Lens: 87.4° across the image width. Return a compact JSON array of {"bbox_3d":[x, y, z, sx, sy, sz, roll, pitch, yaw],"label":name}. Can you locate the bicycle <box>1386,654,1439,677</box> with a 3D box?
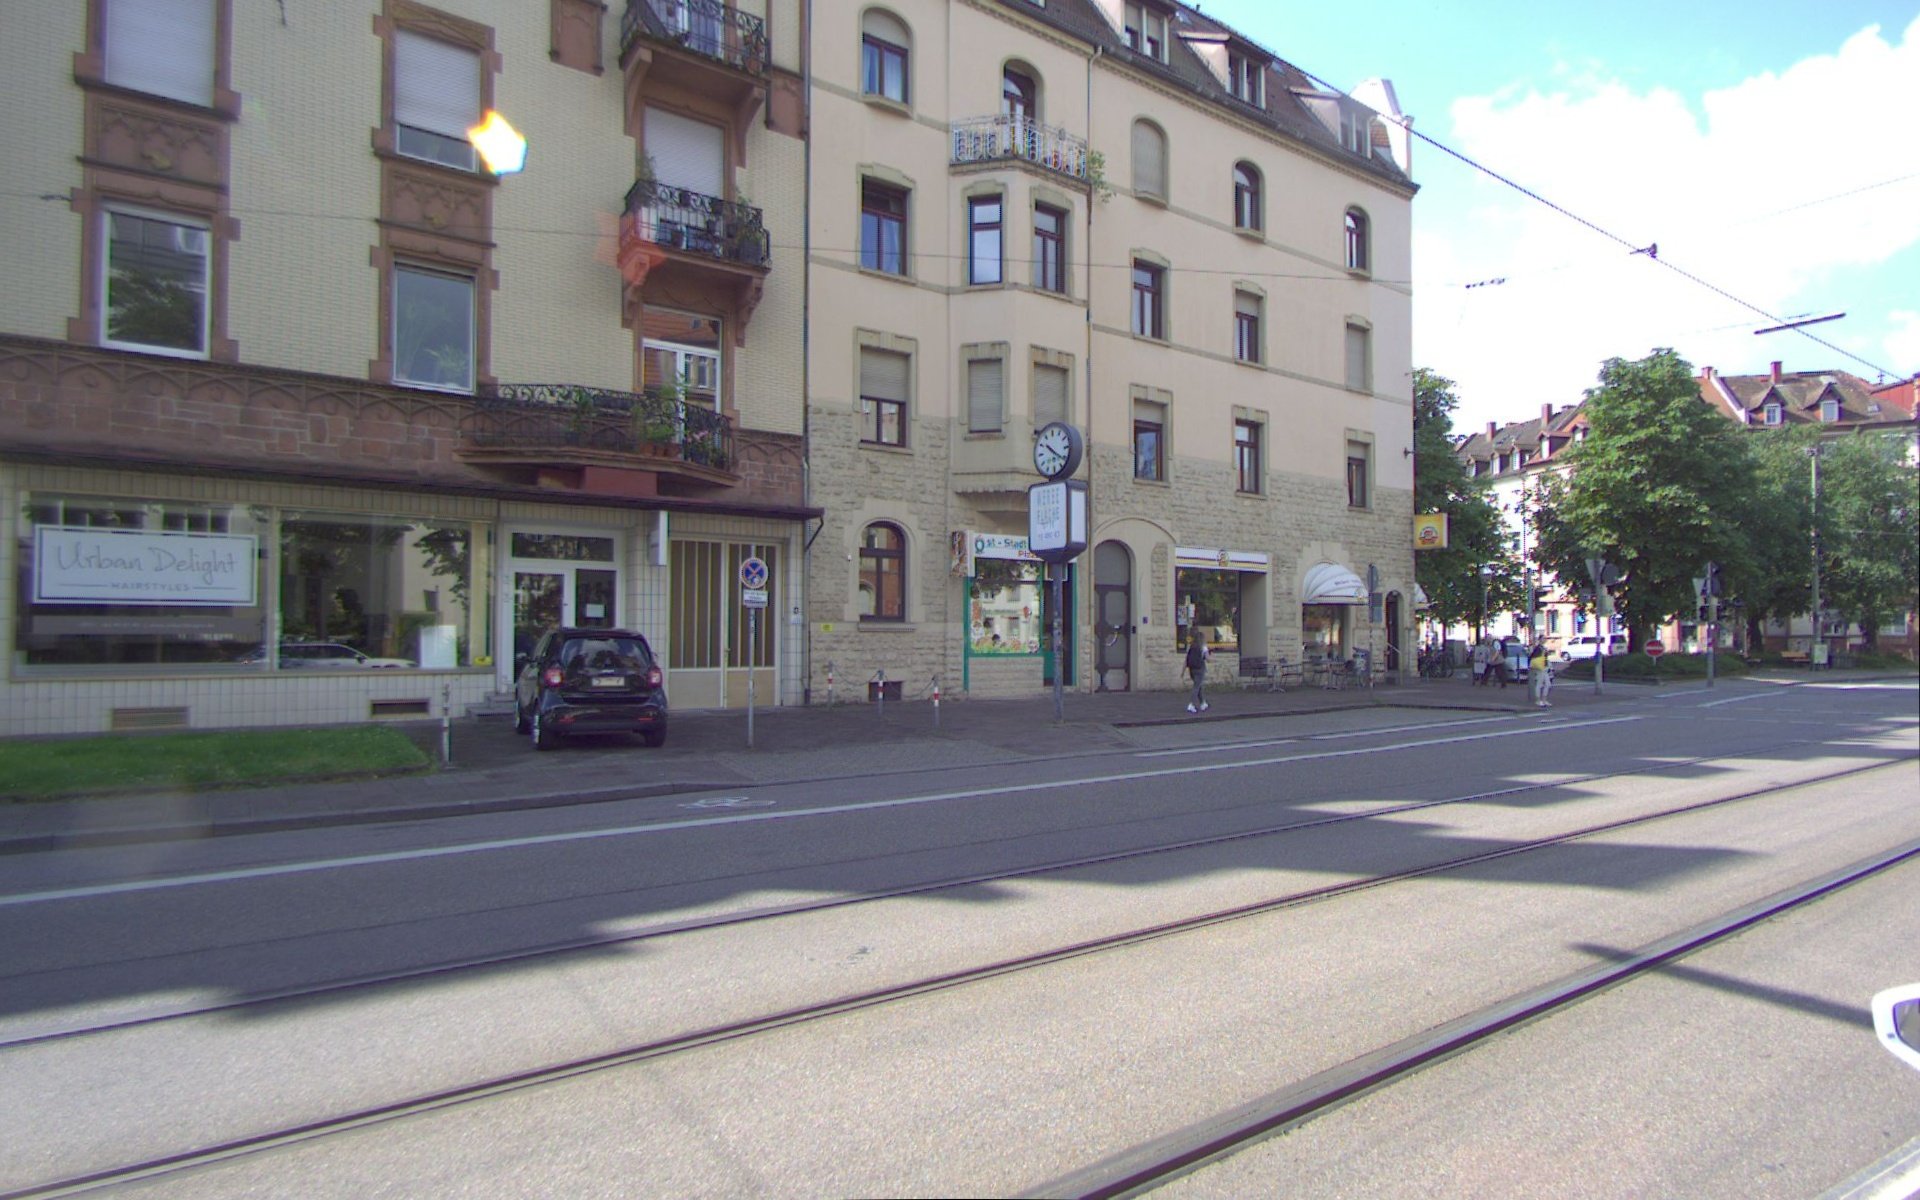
[{"bbox_3d":[19.220,2.775,42.705,1.990,0.894,0.512,1,-2,13],"label":"bicycle"}]

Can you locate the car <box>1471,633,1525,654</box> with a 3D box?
[{"bbox_3d":[44.472,3.625,83.047,1.882,1.685,3.934,1,-2,-11],"label":"car"}]

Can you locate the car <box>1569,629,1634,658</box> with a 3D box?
[{"bbox_3d":[46.783,3.154,73.362,1.823,2.015,3.941,1,-2,-10],"label":"car"}]

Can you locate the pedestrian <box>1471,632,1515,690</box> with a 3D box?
[{"bbox_3d":[15.849,1.805,29.858,0.813,1.694,0.850,1,-2,-33],"label":"pedestrian"}]

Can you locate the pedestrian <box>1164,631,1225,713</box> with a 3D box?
[{"bbox_3d":[4.727,1.424,20.244,0.955,1.562,0.688,1,2,-40],"label":"pedestrian"}]

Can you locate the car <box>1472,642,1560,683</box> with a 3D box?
[{"bbox_3d":[20.895,2.325,37.900,1.686,1.438,3.877,0,-2,10],"label":"car"}]

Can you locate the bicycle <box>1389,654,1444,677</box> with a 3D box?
[{"bbox_3d":[18.855,2.704,41.521,1.990,0.894,0.512,1,-2,13],"label":"bicycle"}]

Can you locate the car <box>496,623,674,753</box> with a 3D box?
[{"bbox_3d":[-5.373,1.126,14.153,1.688,1.506,3.425,1,0,-32],"label":"car"}]

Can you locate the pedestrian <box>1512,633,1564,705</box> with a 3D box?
[{"bbox_3d":[14.399,1.702,25.043,0.865,1.727,0.751,1,2,-35],"label":"pedestrian"}]

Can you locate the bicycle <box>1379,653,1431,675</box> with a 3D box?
[{"bbox_3d":[19.492,2.800,44.031,1.990,0.894,0.512,1,-2,13],"label":"bicycle"}]

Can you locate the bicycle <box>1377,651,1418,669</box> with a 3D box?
[{"bbox_3d":[23.508,3.213,53.964,1.994,0.910,0.571,0,-2,29],"label":"bicycle"}]

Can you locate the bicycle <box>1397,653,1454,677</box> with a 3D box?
[{"bbox_3d":[18.613,2.587,40.194,1.990,0.894,0.523,1,-2,13],"label":"bicycle"}]

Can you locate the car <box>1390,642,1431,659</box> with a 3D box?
[{"bbox_3d":[41.996,4.667,93.733,1.602,1.513,3.638,1,-2,-13],"label":"car"}]
